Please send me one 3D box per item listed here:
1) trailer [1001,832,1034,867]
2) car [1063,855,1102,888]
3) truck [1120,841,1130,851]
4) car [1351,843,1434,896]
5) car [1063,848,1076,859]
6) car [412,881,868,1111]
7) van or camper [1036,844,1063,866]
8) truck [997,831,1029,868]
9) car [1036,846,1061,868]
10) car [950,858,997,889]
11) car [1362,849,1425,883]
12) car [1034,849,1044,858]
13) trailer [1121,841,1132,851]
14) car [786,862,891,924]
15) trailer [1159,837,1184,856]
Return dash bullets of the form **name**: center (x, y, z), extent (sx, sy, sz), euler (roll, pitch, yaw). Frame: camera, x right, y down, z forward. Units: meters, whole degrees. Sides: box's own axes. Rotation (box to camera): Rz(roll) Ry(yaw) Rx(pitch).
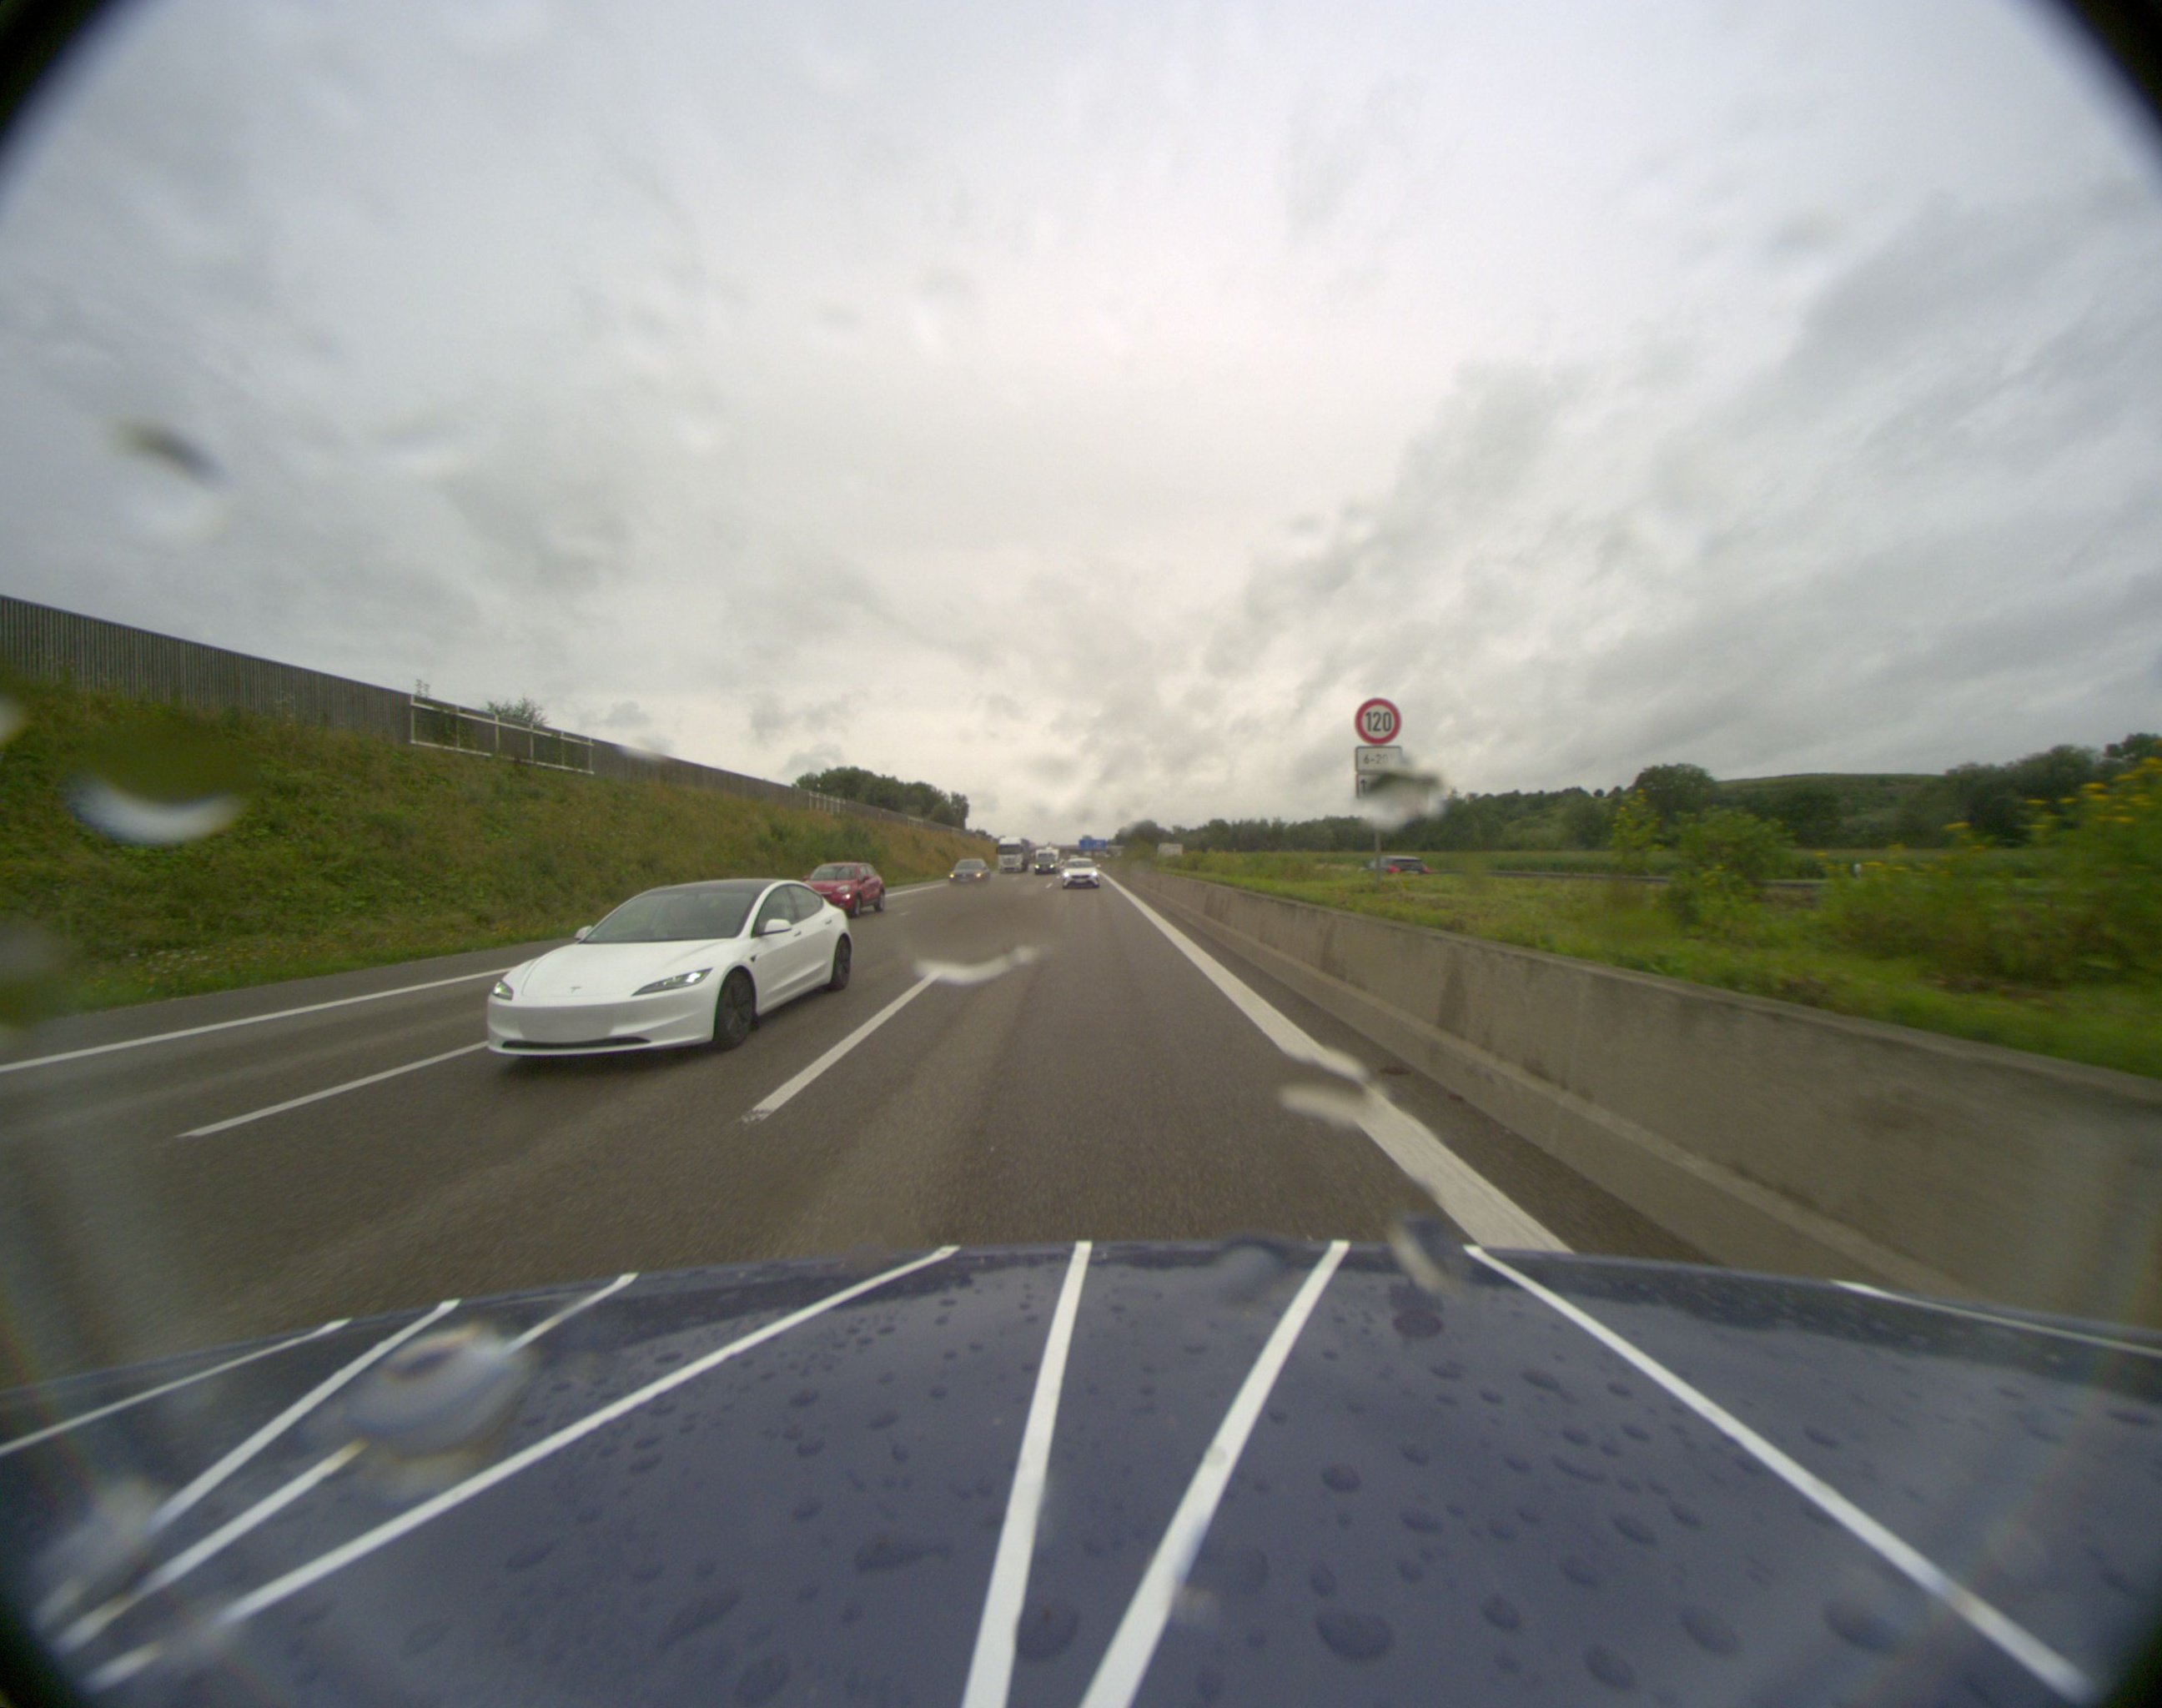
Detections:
- **trailer**: center (-7.787, -0.590, 95.160), extent (3.090, 4.003, 15.218), euler (-2, 1, -1)
- **car**: center (0.101, 0.838, 38.492), extent (1.840, 1.455, 4.000), euler (-2, 1, 1)
- **truck**: center (15.115, -2.724, 261.680), extent (2.763, 3.324, 4.520), euler (-2, 1, -1)
- **car**: center (13.005, 0.601, 31.964), extent (1.822, 2.002, 4.000), euler (-2, 0, 1)
- **car**: center (-1.809, -0.021, 123.185), extent (1.999, 1.759, 3.999), euler (0, 0, -1)
- **car**: center (-3.848, 1.113, 7.884), extent (1.878, 1.355, 4.812), euler (-2, 1, 0)
- **van or camper**: center (-3.195, 0.060, 78.974), extent (2.432, 2.139, 6.497), euler (-2, 1, 1)
- **truck**: center (-7.699, -0.516, 87.012), extent (3.090, 4.003, 6.955), euler (-2, 1, -1)
- **car**: center (-3.098, 0.268, 73.558), extent (1.998, 2.002, 4.937), euler (-2, 1, 1)
- **car**: center (-6.066, 1.063, 43.339), extent (1.929, 1.480, 4.485), euler (-2, 1, 1)
- **car**: center (16.814, 0.597, 41.058), extent (1.804, 1.764, 3.861), euler (0, 0, 0)
- **car**: center (-9.352, -0.149, 169.320), extent (1.999, 2.002, 4.262), euler (-1, 0, -1)
- **trailer**: center (15.276, -2.647, 254.760), extent (2.794, 3.309, 9.924), euler (-2, 1, -1)
- **car**: center (-7.174, 1.101, 22.935), extent (1.878, 1.526, 3.999), euler (-2, 1, -1)
- **trailer**: center (17.384, -1.528, 146.808), extent (2.922, 3.409, 13.239), euler (-2, 1, 0)
